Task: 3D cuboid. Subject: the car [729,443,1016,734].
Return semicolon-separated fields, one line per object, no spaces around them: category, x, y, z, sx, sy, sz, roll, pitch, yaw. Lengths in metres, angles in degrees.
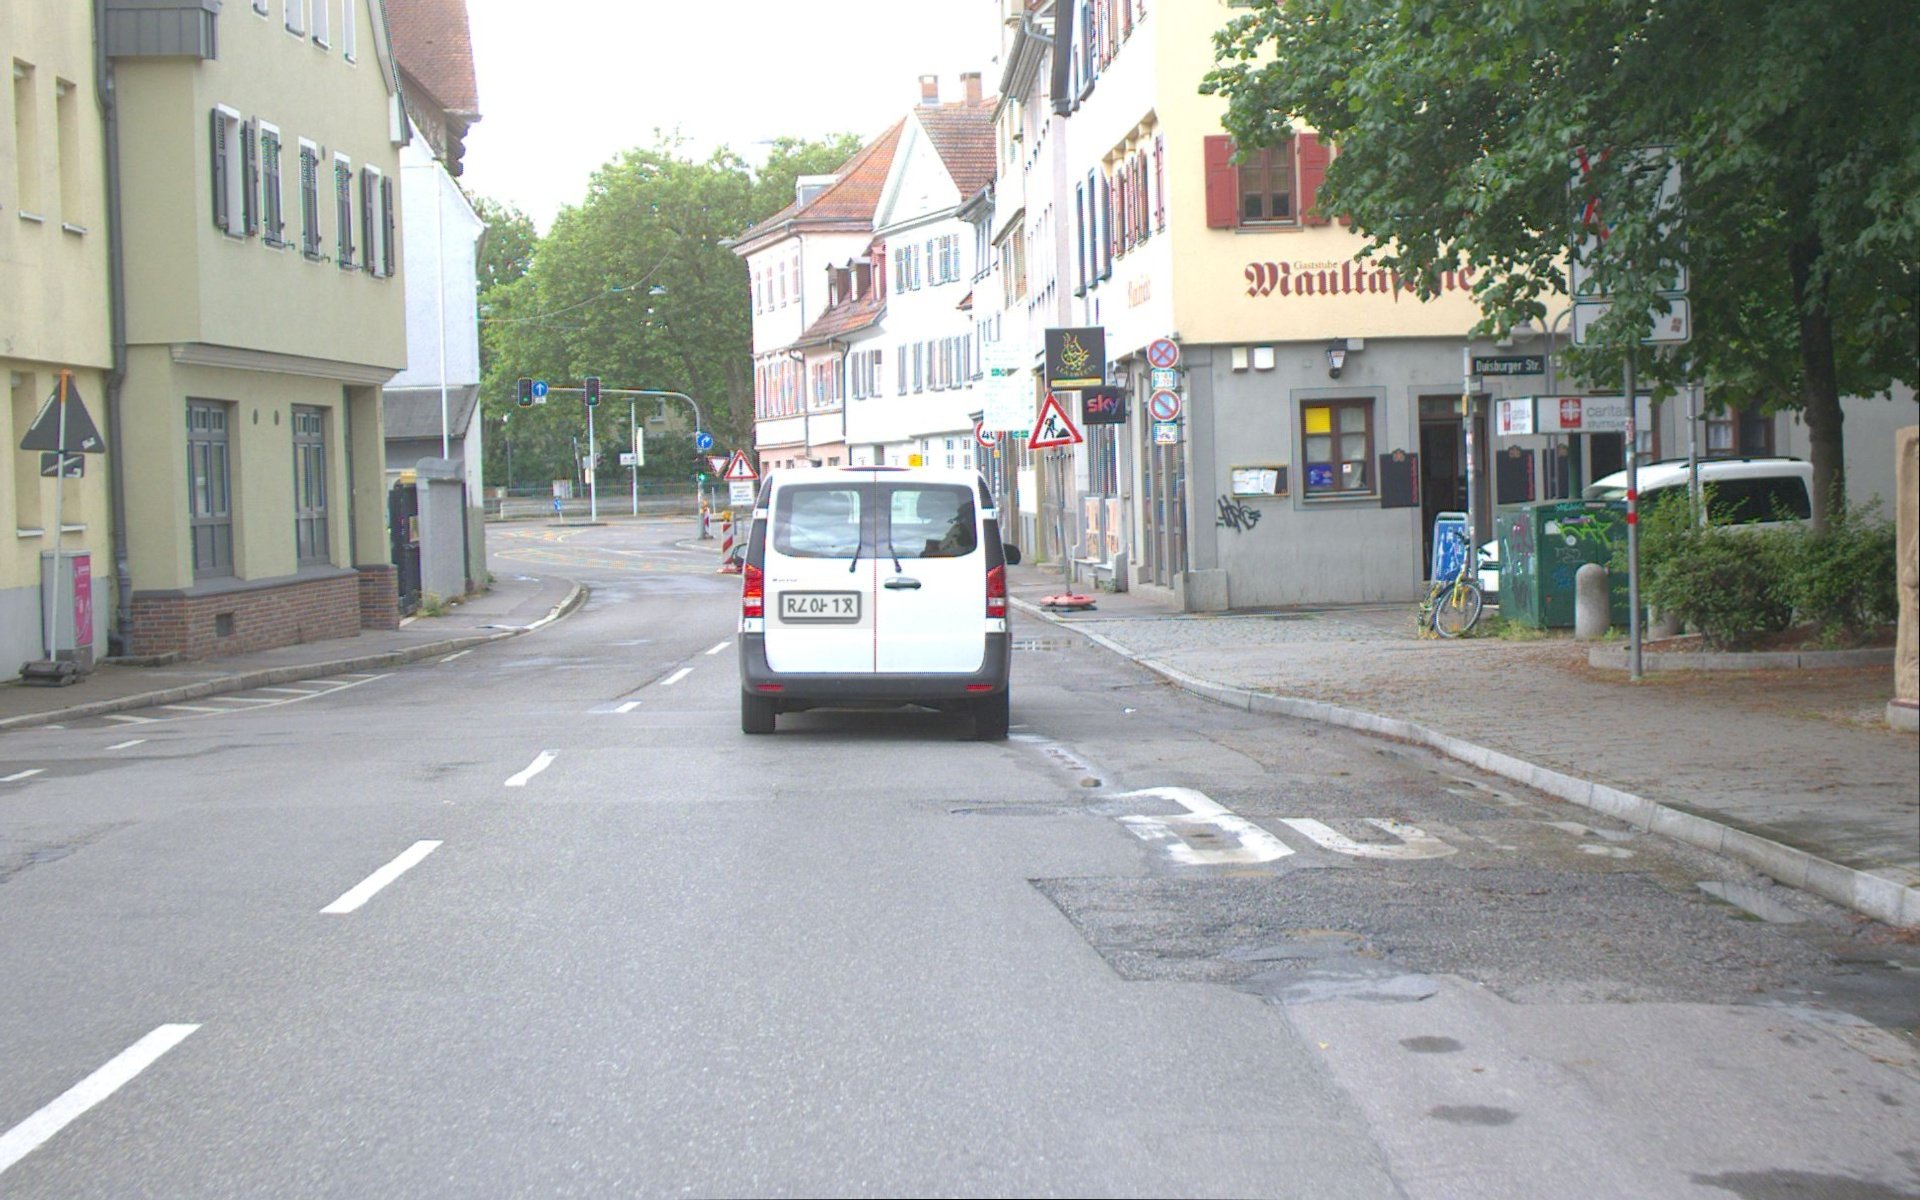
car;-0.591;-0.155;25.025;1.872;1.905;4.001;-1;2;0

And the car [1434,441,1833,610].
car;7.926;-0.907;40.616;4.241;1.791;1.849;-2;4;-8

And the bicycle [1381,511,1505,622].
bicycle;4.991;-0.358;35.627;0.499;1.102;1.639;-3;2;-21

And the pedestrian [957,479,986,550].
pedestrian;0.283;-2.122;85.110;0.643;1.741;0.562;-1;1;-5
